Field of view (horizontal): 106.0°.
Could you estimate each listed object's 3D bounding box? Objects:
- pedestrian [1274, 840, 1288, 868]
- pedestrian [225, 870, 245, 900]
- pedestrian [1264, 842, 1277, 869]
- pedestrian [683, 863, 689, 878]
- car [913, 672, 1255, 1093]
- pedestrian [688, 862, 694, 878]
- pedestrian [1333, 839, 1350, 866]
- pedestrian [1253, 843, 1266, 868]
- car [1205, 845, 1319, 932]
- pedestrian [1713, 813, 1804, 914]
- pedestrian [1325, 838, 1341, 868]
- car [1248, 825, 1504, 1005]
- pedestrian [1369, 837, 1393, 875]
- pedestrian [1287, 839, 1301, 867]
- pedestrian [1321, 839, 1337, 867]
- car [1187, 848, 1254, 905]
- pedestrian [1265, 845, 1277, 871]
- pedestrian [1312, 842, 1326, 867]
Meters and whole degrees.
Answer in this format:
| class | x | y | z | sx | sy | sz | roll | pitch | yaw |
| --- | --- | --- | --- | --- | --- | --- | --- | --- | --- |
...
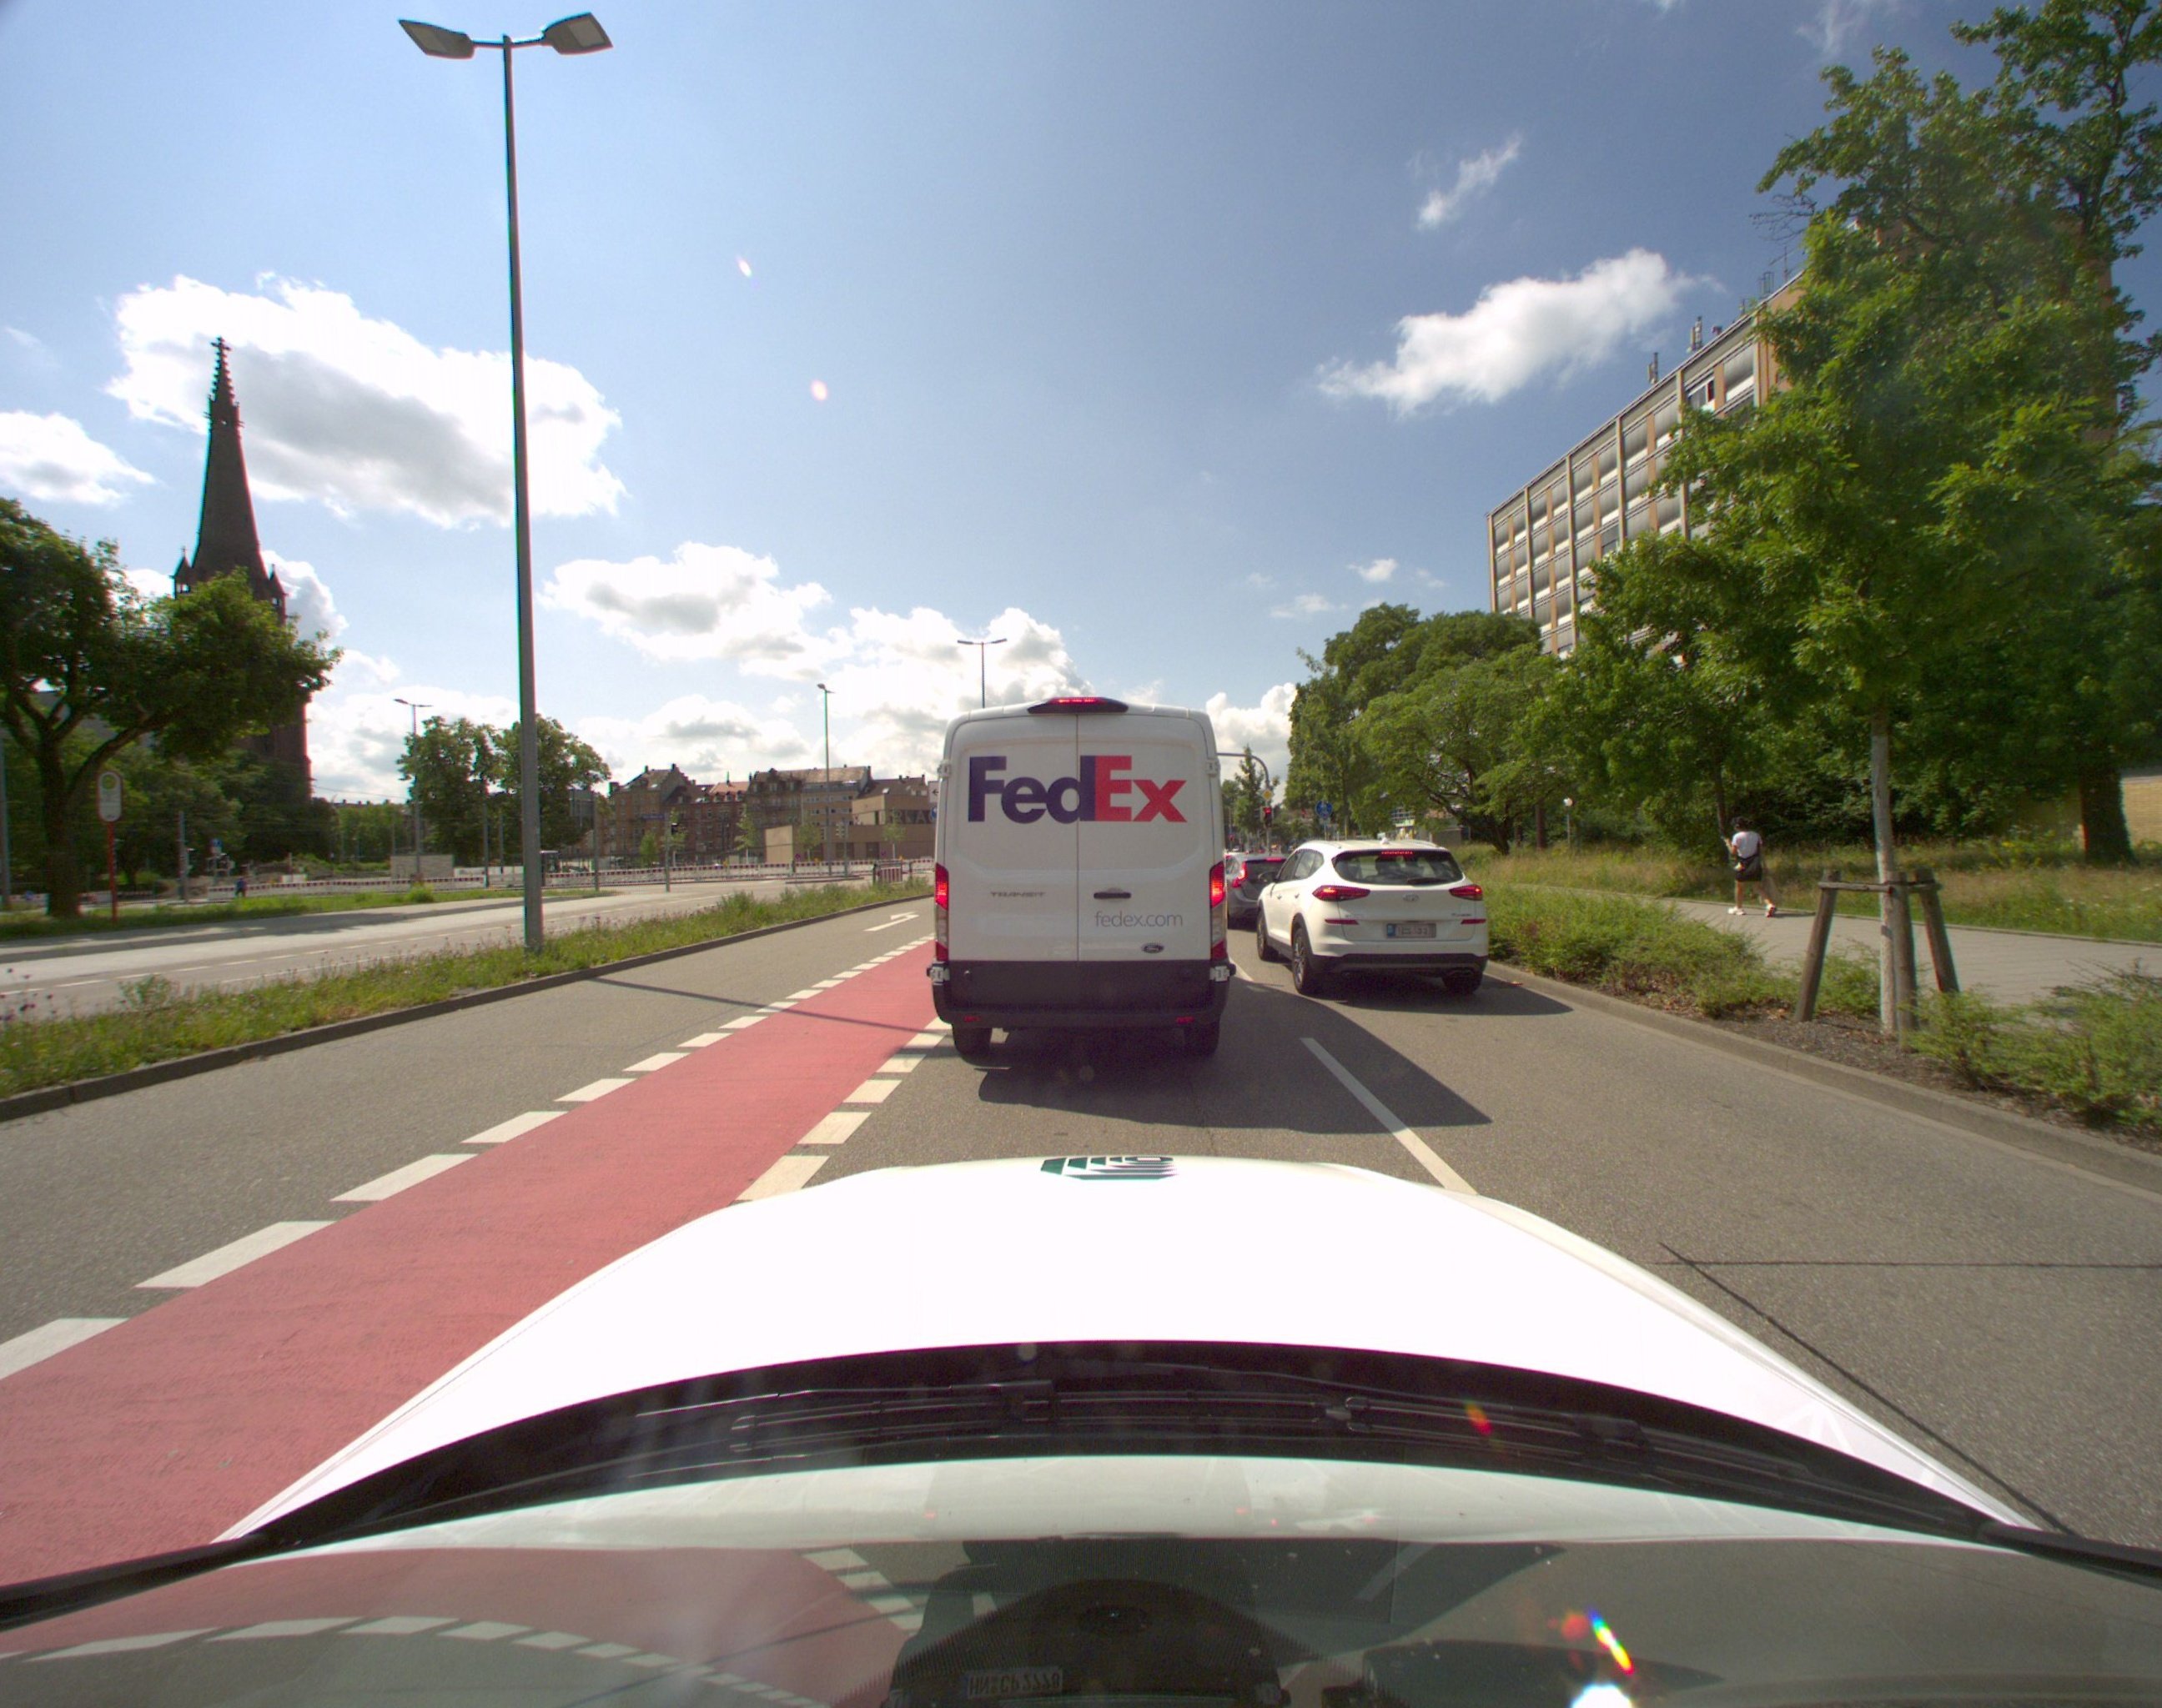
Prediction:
| class | x | y | z | sx | sy | sz | roll | pitch | yaw |
| --- | --- | --- | --- | --- | --- | --- | --- | --- | --- |
| pedestrian | 13.335 | 0.002 | 54.373 | 0.755 | 1.849 | 0.817 | -2 | 0 | 3 |
| pedestrian | -58.861 | 2.156 | 56.664 | 0.644 | 2.013 | 0.632 | -2 | 0 | -1 |
| pedestrian | 13.167 | 0.078 | 56.533 | 0.752 | 1.849 | 0.820 | -2 | 0 | 20 |
| pedestrian | -43.465 | 1.764 | 89.568 | 0.420 | 1.652 | 0.420 | -1 | -1 | 36 |
| car | 0.142 | 0.172 | 7.309 | 2.064 | 2.581 | 4.432 | -2 | 0 | 3 |
| pedestrian | -42.606 | 1.753 | 88.980 | 0.420 | 1.652 | 0.420 | -1 | -1 | 36 |
| pedestrian | 17.865 | -0.097 | 55.873 | 0.758 | 1.849 | 0.814 | -2 | 0 | -6 |
| pedestrian | 13.066 | 0.101 | 59.659 | 0.810 | 1.849 | 0.762 | -2 | 0 | 5 |
| car | 3.613 | 0.620 | 16.852 | 1.684 | 1.549 | 3.724 | -2 | 0 | 3 |
| pedestrian | 10.833 | 0.144 | 13.052 | 0.756 | 1.557 | 0.817 | -2 | 0 | 2 |
| pedestrian | 15.411 | -0.088 | 49.804 | 0.755 | 1.789 | 0.818 | -2 | 0 | 7 |
| car | 3.226 | 0.575 | 9.792 | 1.807 | 1.678 | 3.978 | -2 | 0 | 3 |
| pedestrian | 13.326 | 0.075 | 36.213 | 0.755 | 1.655 | 0.817 | -2 | 0 | 5 |
| pedestrian | 14.303 | -0.068 | 54.717 | 0.755 | 1.849 | 0.817 | -2 | 0 | 5 |
| pedestrian | 16.966 | -0.064 | 55.748 | 0.758 | 1.849 | 0.814 | -2 | 0 | -8 |
| car | 3.919 | 0.597 | 23.306 | 1.493 | 1.464 | 3.477 | -2 | 0 | 3 |
| pedestrian | 13.730 | 0.312 | 58.877 | 0.753 | 1.849 | 0.820 | -2 | 0 | 16 |
| pedestrian | 17.623 | 0.046 | 60.327 | 0.755 | 1.849 | 0.817 | -2 | 0 | 3 |
